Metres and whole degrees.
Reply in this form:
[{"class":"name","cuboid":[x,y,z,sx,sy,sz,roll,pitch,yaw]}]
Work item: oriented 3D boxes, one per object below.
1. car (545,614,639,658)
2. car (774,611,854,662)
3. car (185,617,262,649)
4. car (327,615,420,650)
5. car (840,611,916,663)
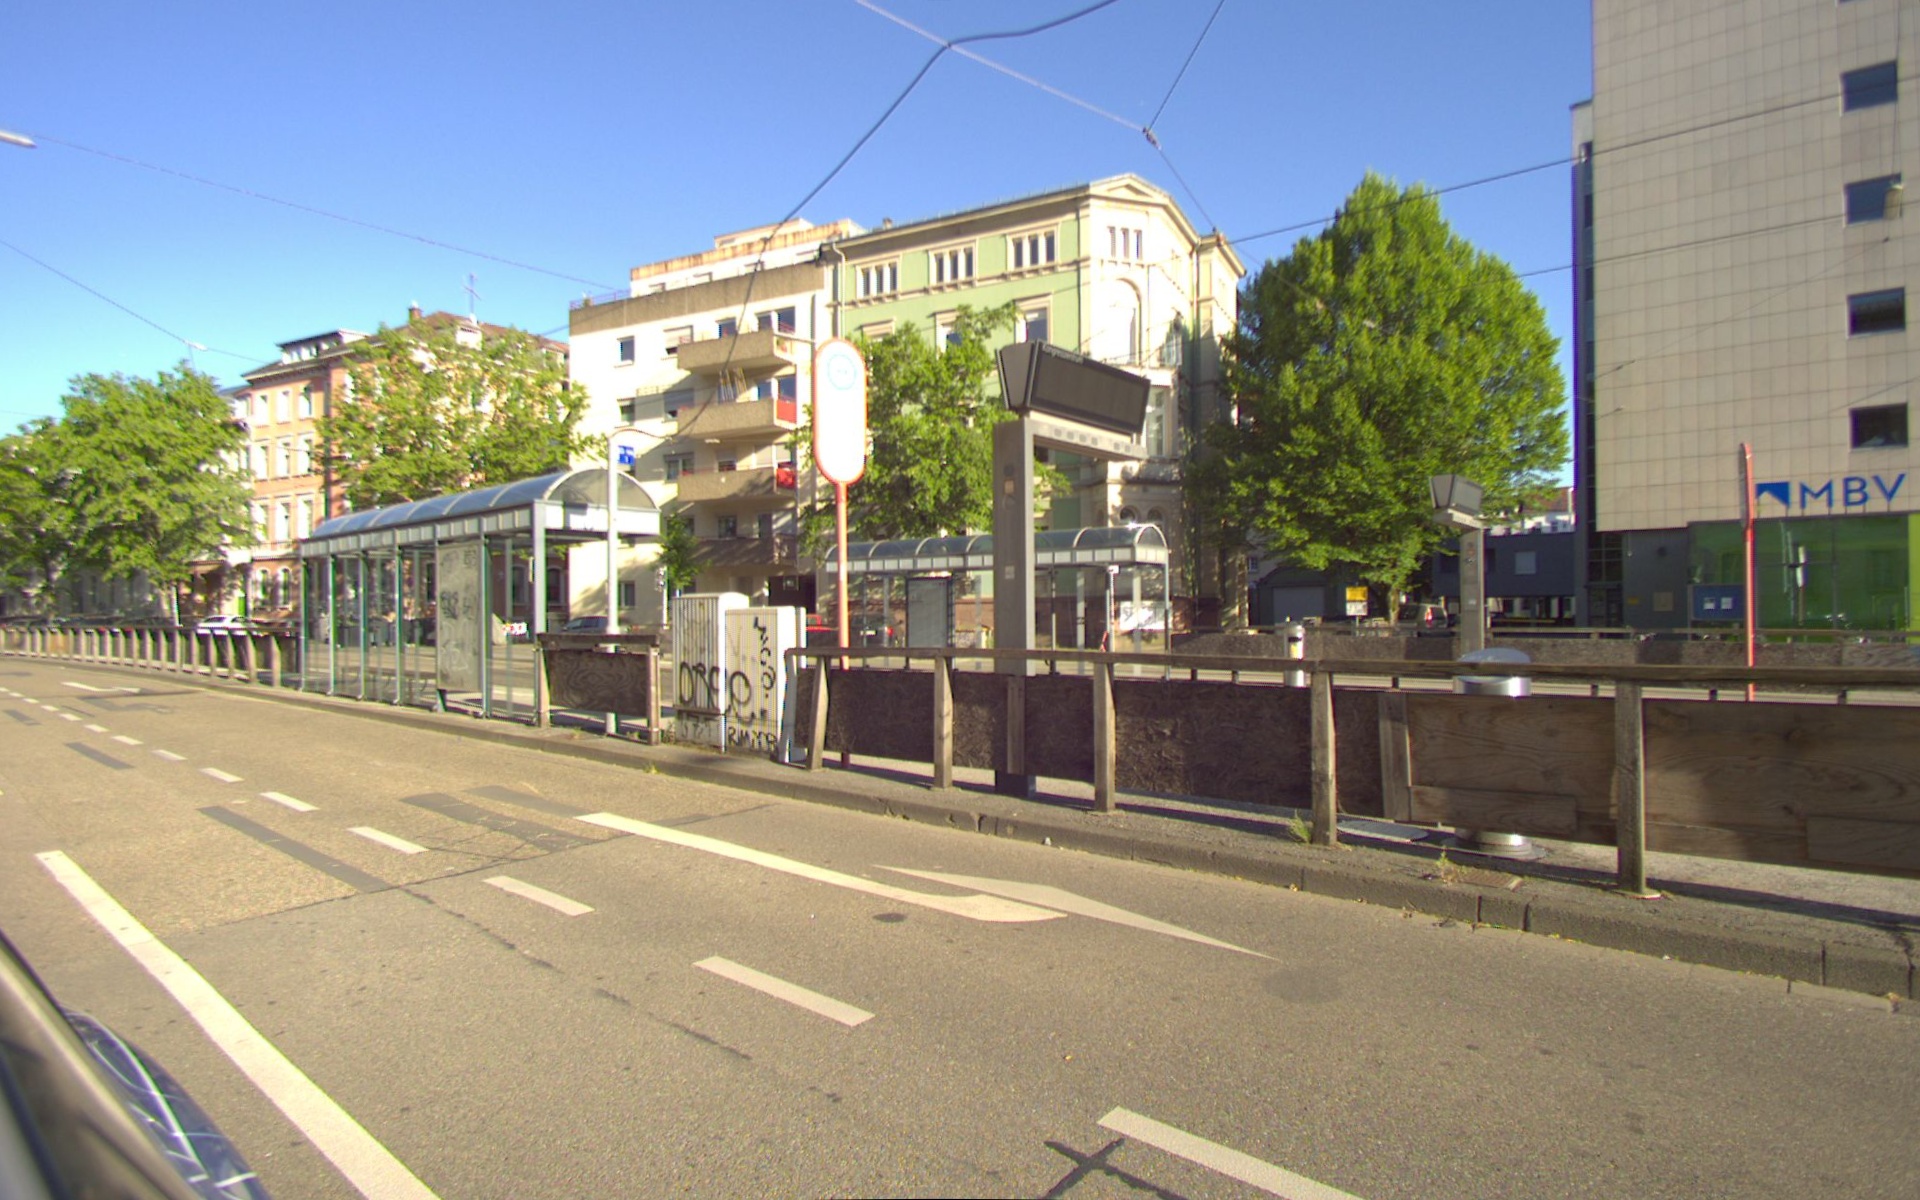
[{"class":"car","cuboid":[-14.033,1.328,38.535,3.592,1.579,1.612,-1,0,35]},{"class":"car","cuboid":[-4.922,1.210,34.582,1.614,1.579,3.588,-1,0,11]},{"class":"car","cuboid":[-39.397,1.732,54.233,1.607,1.579,3.601,-1,0,-2]},{"class":"car","cuboid":[-28.397,1.553,49.073,1.626,1.579,3.560,-1,0,33]},{"class":"car","cuboid":[-2.649,1.181,33.385,1.614,1.579,3.588,-1,0,11]}]
